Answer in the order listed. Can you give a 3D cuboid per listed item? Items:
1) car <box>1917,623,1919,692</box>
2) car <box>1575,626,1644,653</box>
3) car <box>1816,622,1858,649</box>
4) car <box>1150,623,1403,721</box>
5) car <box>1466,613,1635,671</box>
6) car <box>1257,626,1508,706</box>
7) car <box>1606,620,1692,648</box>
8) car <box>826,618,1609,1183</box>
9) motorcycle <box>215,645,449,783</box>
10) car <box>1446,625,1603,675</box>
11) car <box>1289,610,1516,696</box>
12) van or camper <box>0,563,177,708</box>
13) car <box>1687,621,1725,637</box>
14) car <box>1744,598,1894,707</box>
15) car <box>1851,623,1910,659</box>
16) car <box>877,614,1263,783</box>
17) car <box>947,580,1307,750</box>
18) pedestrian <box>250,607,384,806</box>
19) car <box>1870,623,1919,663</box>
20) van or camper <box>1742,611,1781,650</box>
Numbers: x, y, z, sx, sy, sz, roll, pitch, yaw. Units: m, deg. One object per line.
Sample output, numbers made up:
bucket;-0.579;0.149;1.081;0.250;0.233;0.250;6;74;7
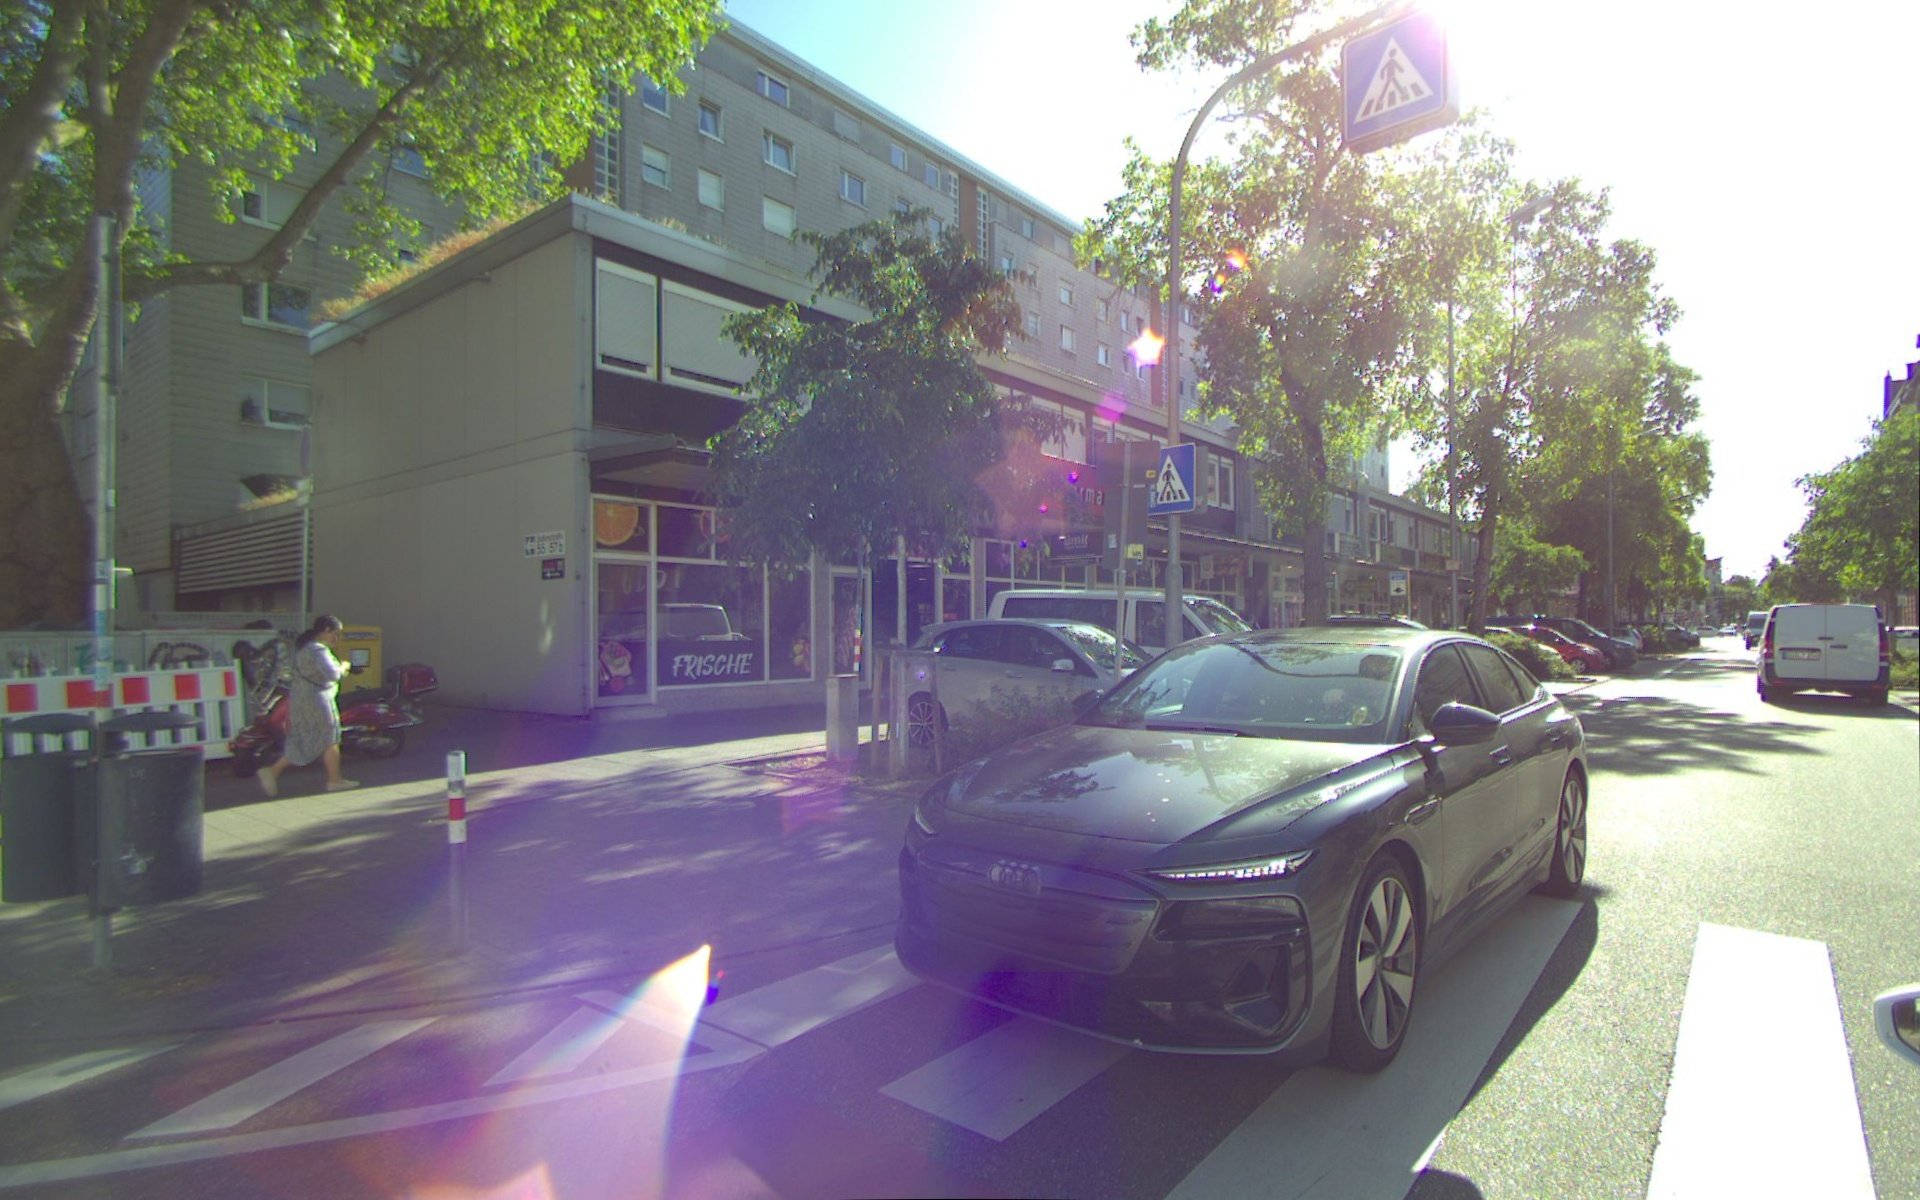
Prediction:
car;20.780;1.216;20.326;1.719;1.539;3.840;-2;-2;39
car;35.509;2.155;54.936;3.061;1.427;1.655;-1;-2;38
car;51.914;2.068;59.490;1.719;1.539;3.840;-2;-2;39
car;5.588;1.190;17.942;3.980;1.513;1.710;0;-1;39
car;21.487;1.497;36.705;5.149;2.007;1.655;-1;-2;39
car;8.873;1.310;21.312;4.599;1.513;1.820;-1;-2;38
car;50.872;2.511;74.251;5.149;2.007;1.655;-1;-2;39
car;1.685;0.850;4.980;1.888;1.473;4.553;-2;-2;42
motorcycle;-6.372;1.104;10.295;0.660;1.196;1.913;-1;0;39
car;19.593;1.682;34.968;4.570;1.631;1.655;-1;-2;39
car;10.290;1.175;23.525;4.570;1.828;1.829;-1;-2;39
van or camper;-18.747;0.725;18.166;1.970;2.609;6.894;-2;1;39
car;99.809;3.881;134.421;3.935;2.040;1.994;-2;-2;35
car;17.467;0.994;20.676;2.075;1.933;5.402;-1;-2;38
car;41.264;1.834;45.107;1.719;1.539;3.840;-2;-2;39
car;1.162;1.022;11.770;4.237;1.634;1.751;-2;-2;38
car;2.249;0.793;14.221;4.670;2.033;1.952;0;-1;38
pedestrian;-5.644;0.875;8.816;0.840;1.594;0.836;-2;2;-42
car;38.050;1.707;40.551;1.719;1.539;3.840;-2;-2;39
van or camper;54.264;2.055;68.016;1.970;2.508;5.794;-2;-2;39
